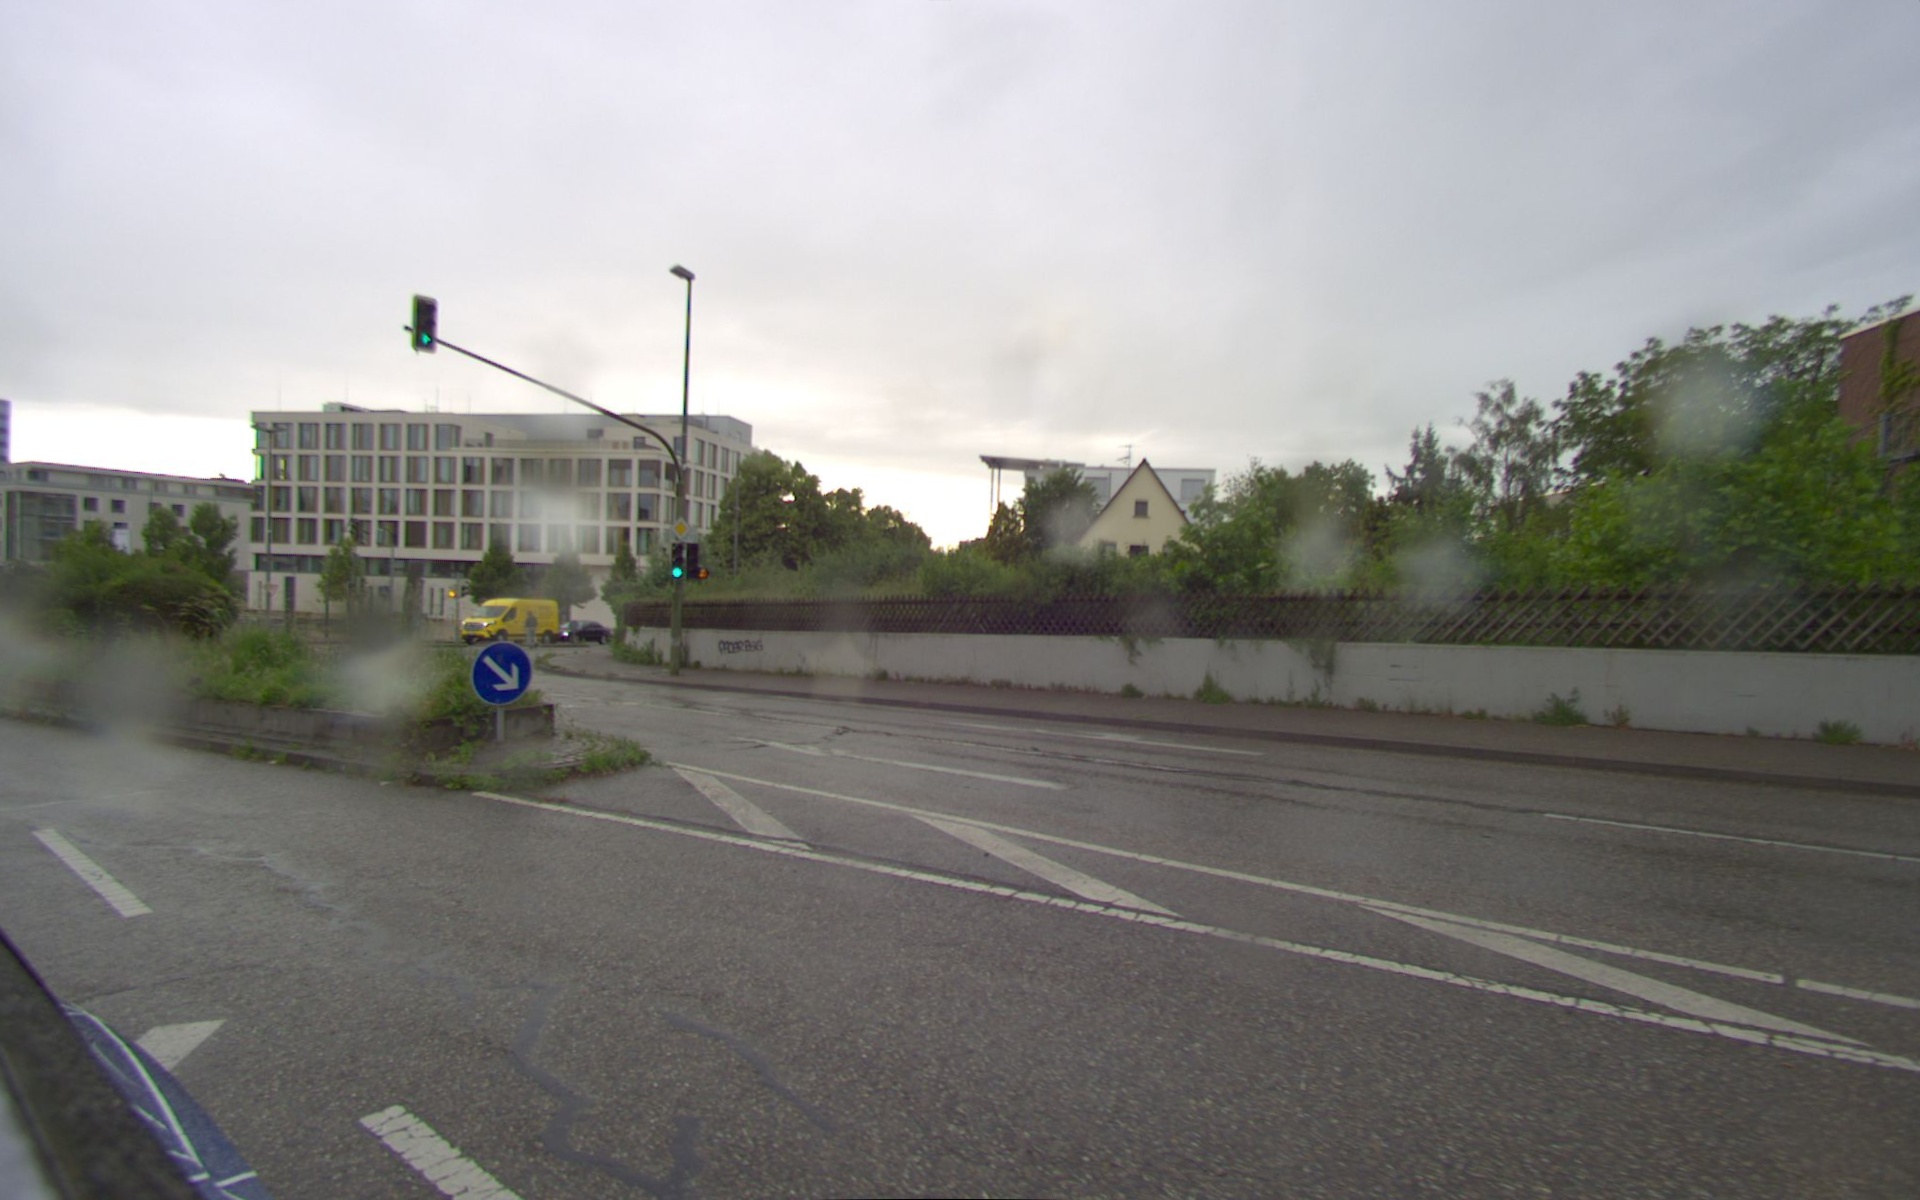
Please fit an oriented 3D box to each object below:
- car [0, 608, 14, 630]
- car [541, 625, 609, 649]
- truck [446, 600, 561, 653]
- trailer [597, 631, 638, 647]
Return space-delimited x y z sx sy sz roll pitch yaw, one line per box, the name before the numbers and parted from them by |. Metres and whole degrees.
car | -68.708 1.325 71.817 4.431 1.424 1.972 1 0 43
car | -23.014 2.230 60.638 1.845 1.327 4.342 2 -2 10
truck | -24.002 1.406 53.526 2.206 2.557 6.150 2 -2 13
trailer | -22.061 2.515 65.266 1.591 0.986 2.279 2 -2 10
